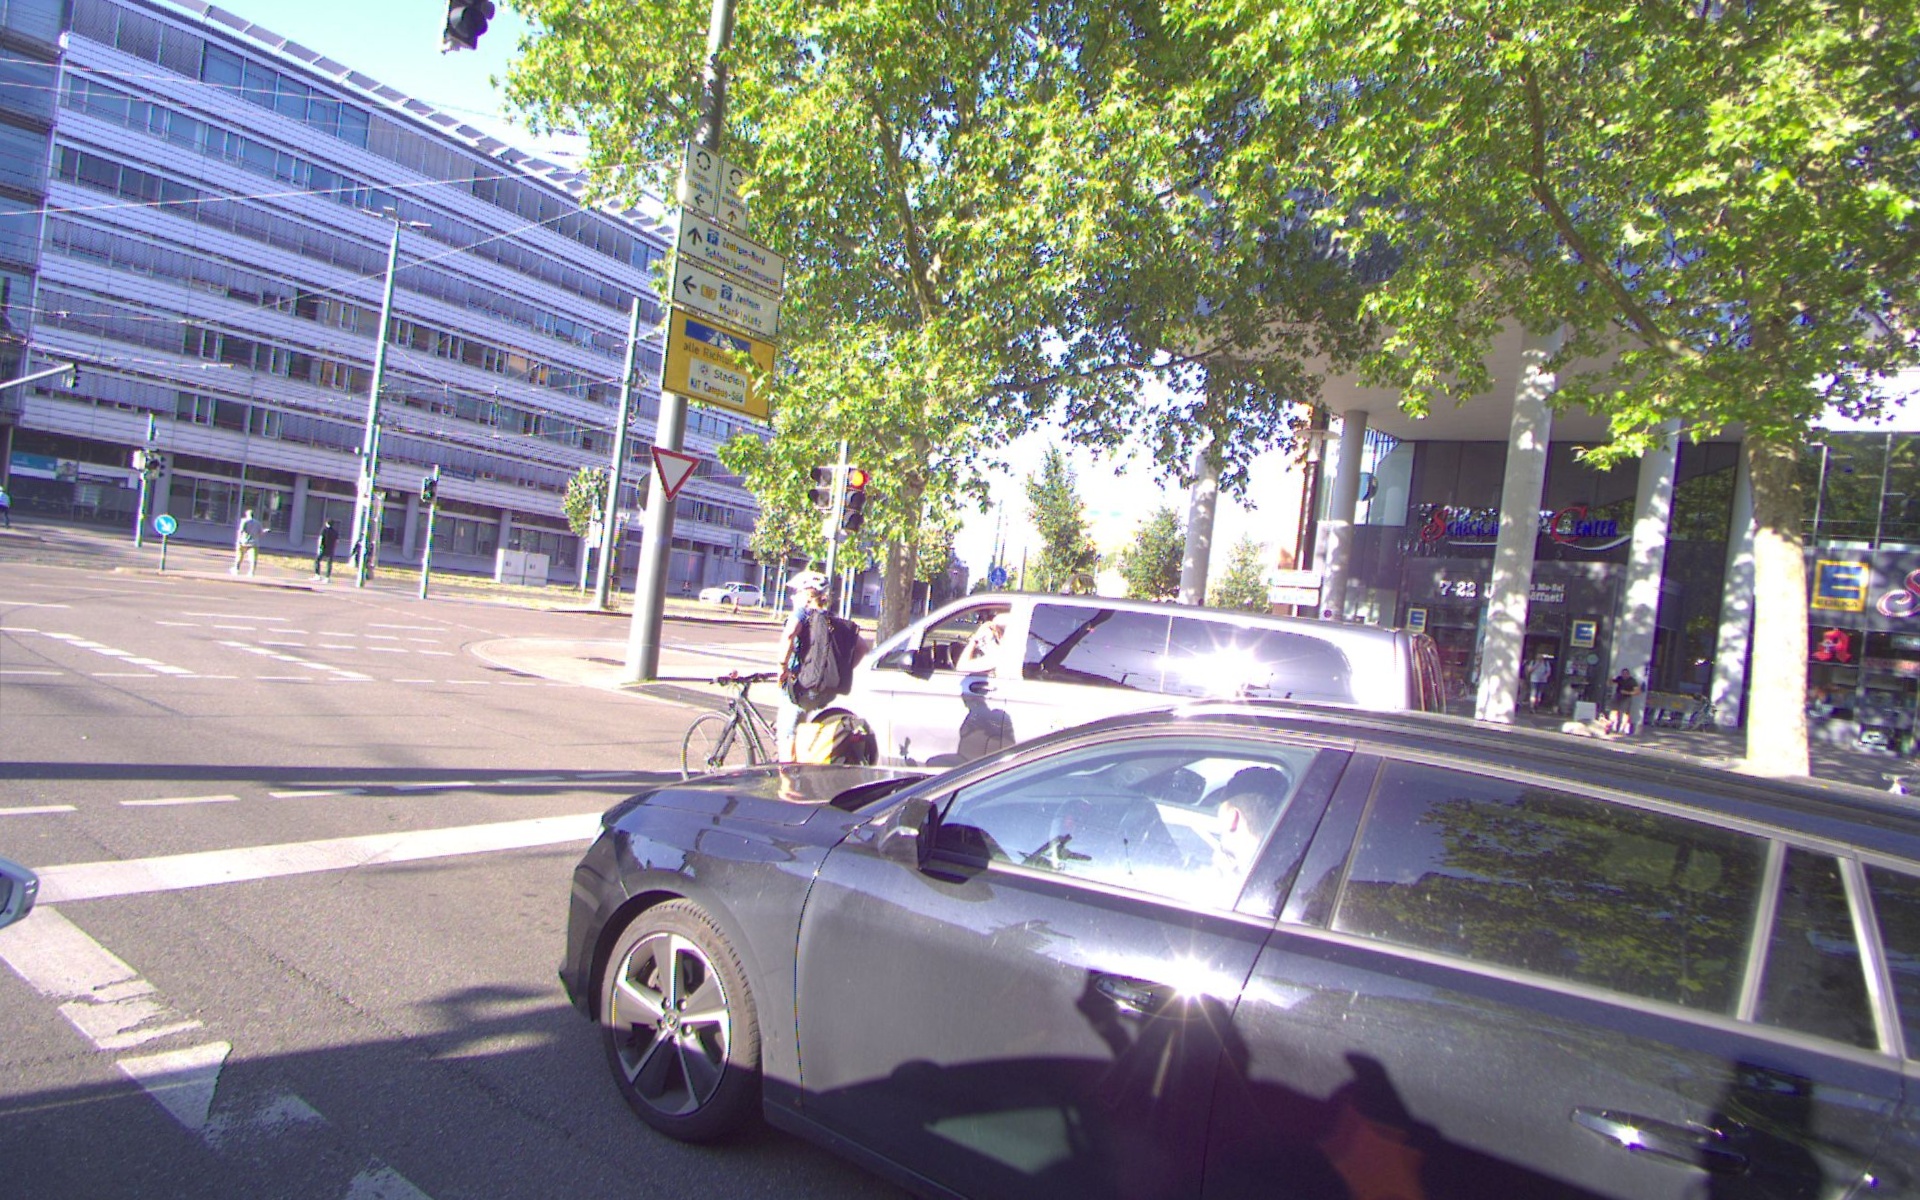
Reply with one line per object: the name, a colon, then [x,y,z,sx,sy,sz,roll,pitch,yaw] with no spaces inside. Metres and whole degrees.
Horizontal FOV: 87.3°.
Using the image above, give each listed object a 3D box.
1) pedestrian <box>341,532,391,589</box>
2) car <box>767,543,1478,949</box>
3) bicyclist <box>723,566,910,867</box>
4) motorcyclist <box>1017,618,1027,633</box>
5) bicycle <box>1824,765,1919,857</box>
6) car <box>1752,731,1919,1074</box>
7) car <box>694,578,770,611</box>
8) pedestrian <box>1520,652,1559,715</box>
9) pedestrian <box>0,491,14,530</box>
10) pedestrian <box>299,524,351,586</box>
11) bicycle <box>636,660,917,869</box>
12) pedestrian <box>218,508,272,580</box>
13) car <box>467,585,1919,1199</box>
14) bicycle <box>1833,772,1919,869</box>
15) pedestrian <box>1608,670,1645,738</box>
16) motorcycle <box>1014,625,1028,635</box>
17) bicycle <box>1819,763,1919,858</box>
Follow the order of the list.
pedestrian: [-18.208,-1.211,30.841,0.883,1.583,0.947,7,1,39]
car: [1.108,0.842,7.949,5.012,2.004,1.939,7,0,31]
bicyclist: [-0.902,0.698,6.346,0.766,1.714,0.632,7,1,32]
motorcyclist: [5.737,2.364,93.219,0.452,1.291,0.712,7,1,36]
bicycle: [11.503,2.607,12.355,0.460,0.938,1.210,6,0,-39]
car: [6.505,1.732,4.614,4.181,1.503,1.741,7,0,31]
car: [-13.724,-0.300,60.658,1.734,1.506,4.296,7,0,35]
pedestrian: [17.559,2.548,30.494,0.881,1.805,0.595,6,1,-42]
pedestrian: [-38.654,-3.627,40.515,0.570,1.526,0.611,7,1,39]
pedestrian: [-18.972,-1.350,30.066,1.020,1.706,0.912,7,1,39]
bicycle: [-1.248,1.015,6.638,1.839,0.993,0.561,7,1,32]
pedestrian: [-19.354,-1.521,27.236,0.859,1.811,0.863,7,1,39]
car: [0.789,0.957,2.741,4.199,1.431,1.742,7,-2,32]
bicycle: [10.547,2.479,11.097,1.233,0.898,0.462,7,1,32]
pedestrian: [17.720,2.764,26.737,0.598,1.707,0.511,6,1,-41]
motorcycle: [5.665,2.804,93.202,0.460,0.820,1.568,7,0,36]
bicycle: [11.206,2.545,12.083,0.437,0.930,1.210,6,0,-39]
